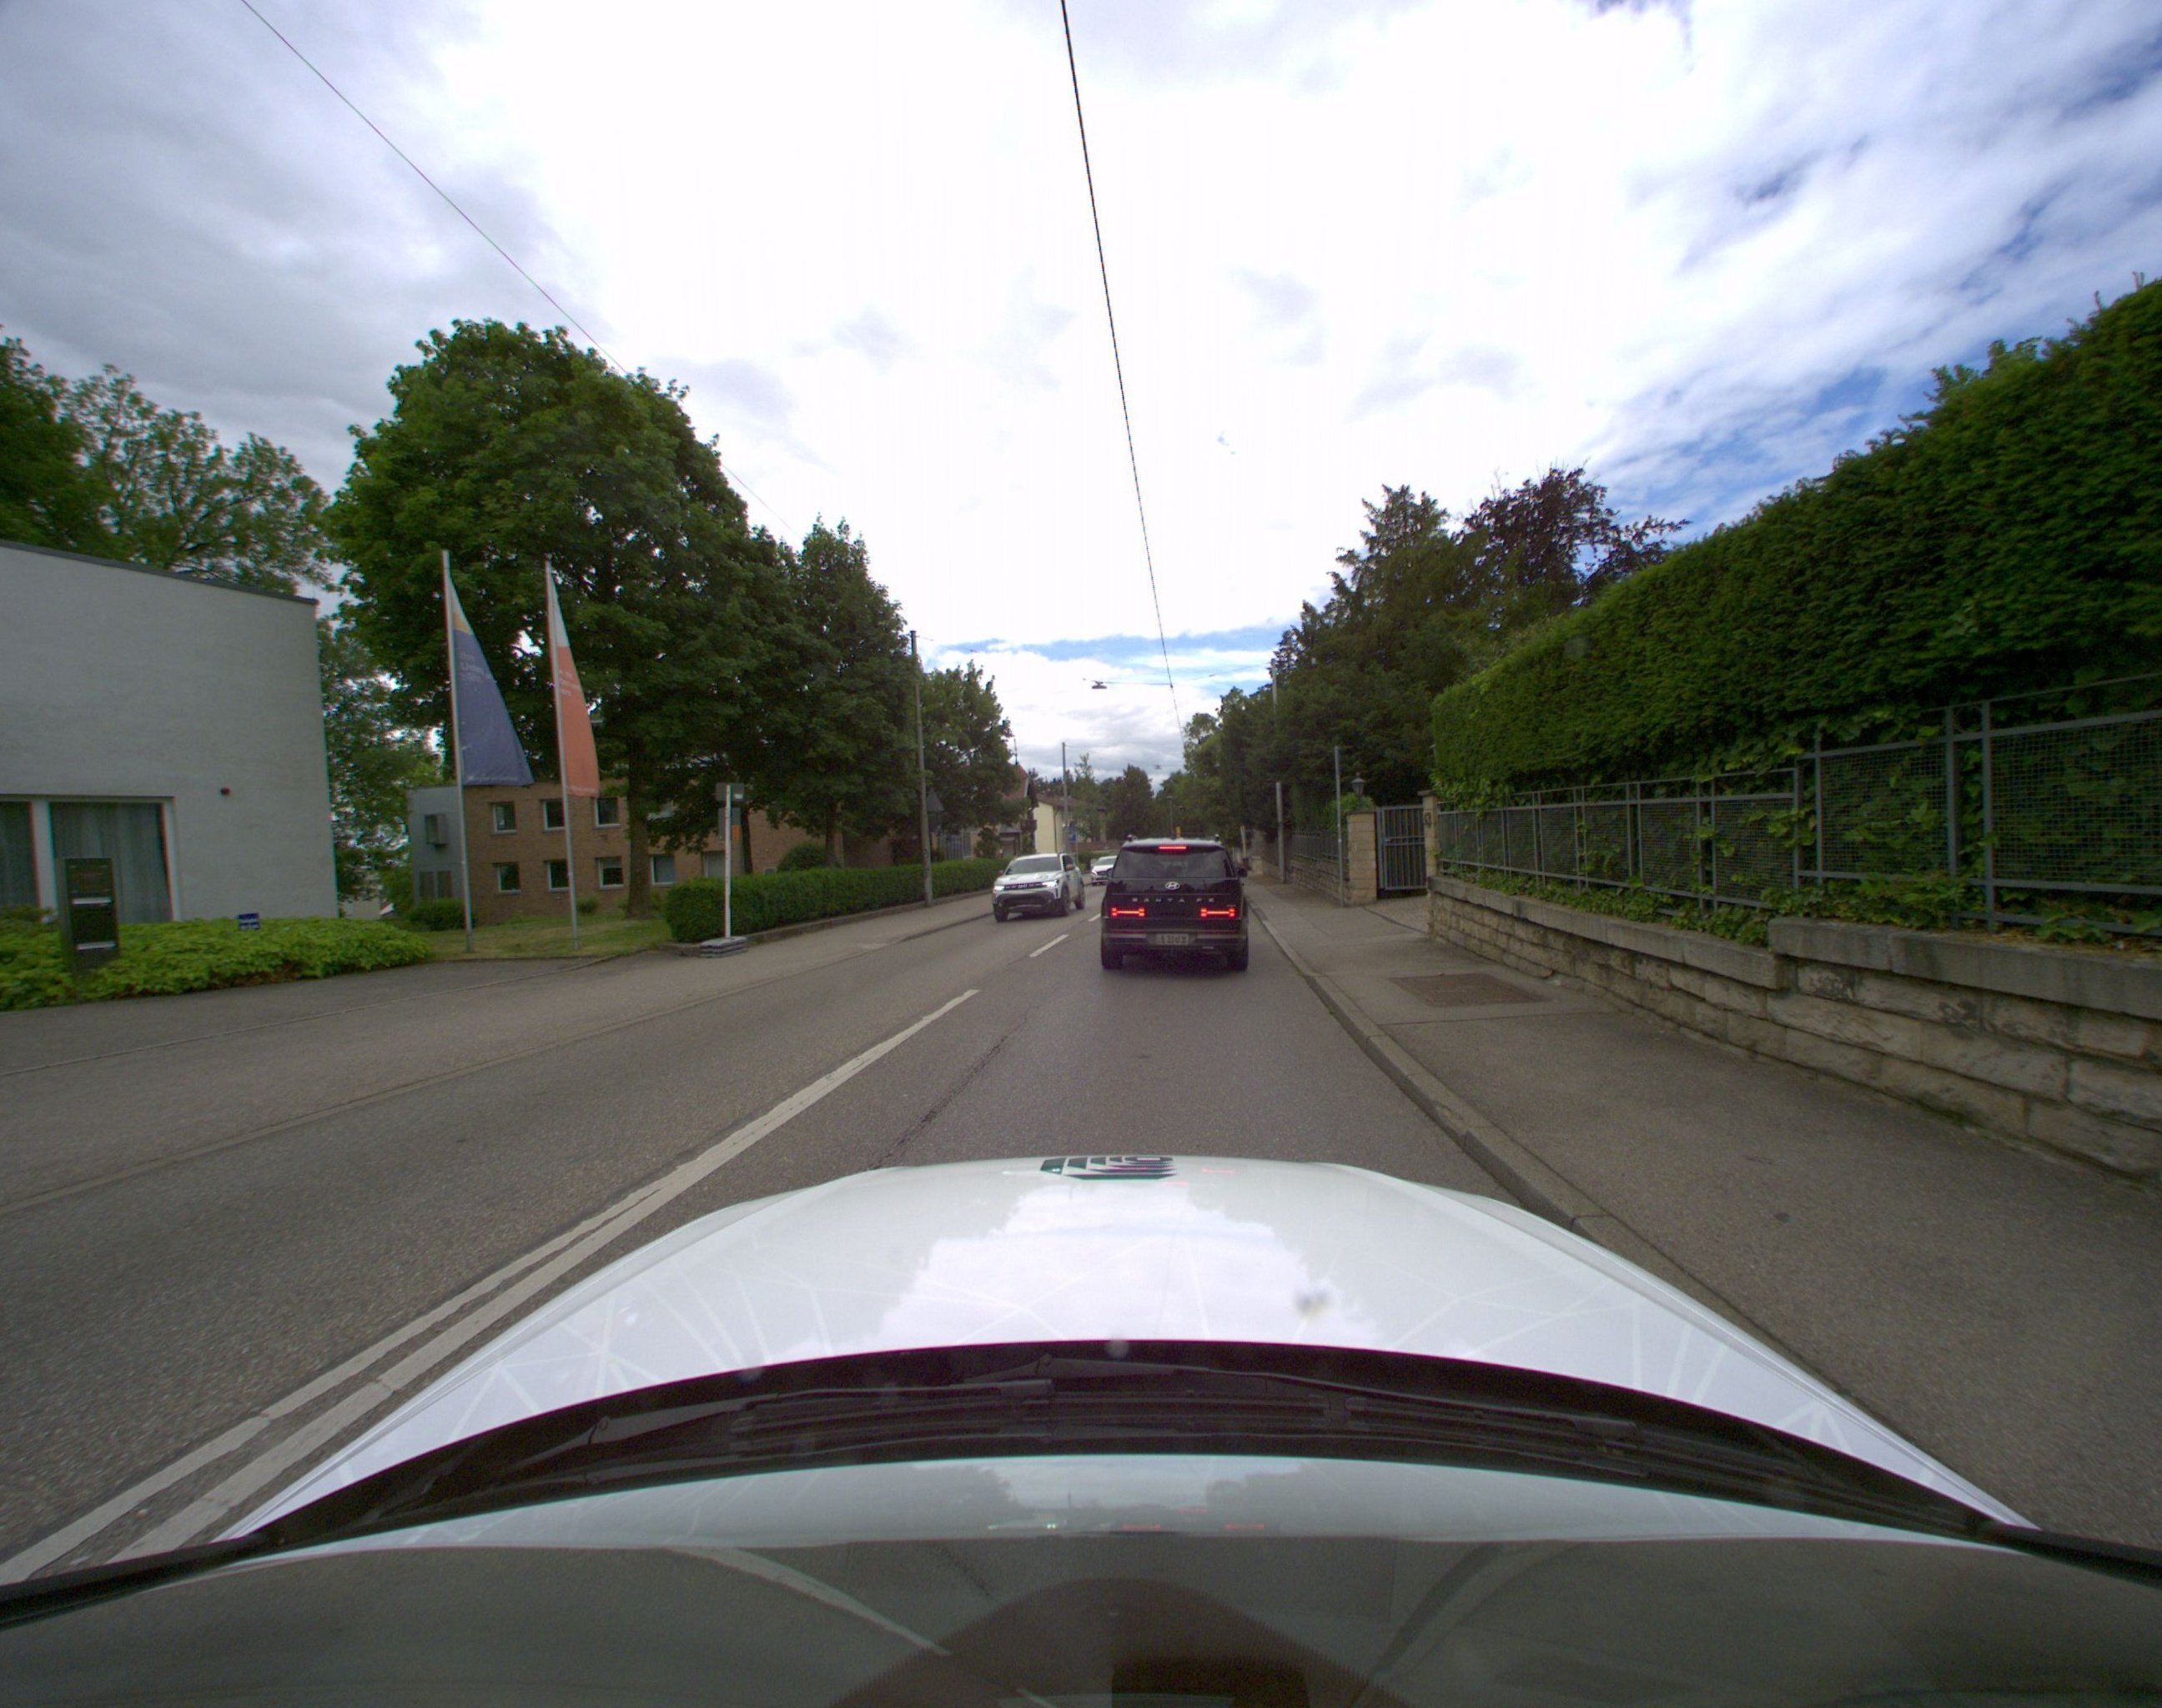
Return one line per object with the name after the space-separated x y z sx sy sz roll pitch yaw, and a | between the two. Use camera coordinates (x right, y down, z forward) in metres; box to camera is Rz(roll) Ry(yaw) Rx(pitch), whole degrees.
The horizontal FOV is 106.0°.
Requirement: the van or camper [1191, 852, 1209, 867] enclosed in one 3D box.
14.603 0.680 99.757 1.982 1.651 4.011 -4 0 9 | van or camper

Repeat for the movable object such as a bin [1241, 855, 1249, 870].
11.073 0.575 54.916 0.441 0.909 0.396 -5 0 18 | movable object such as a bin

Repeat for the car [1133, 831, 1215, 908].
2.725 0.402 23.021 1.944 1.956 4.236 -1 0 11 | car

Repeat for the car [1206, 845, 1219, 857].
18.867 -0.417 116.606 1.634 1.561 3.661 -3 -3 12 | car

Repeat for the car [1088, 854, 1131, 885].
1.540 0.788 42.672 1.756 1.421 4.075 -5 -1 8 | car

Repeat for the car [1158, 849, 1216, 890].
4.345 0.572 32.853 1.980 1.404 4.013 -4 0 11 | car

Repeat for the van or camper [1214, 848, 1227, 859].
22.554 -0.074 131.964 1.982 1.651 4.011 -4 0 9 | van or camper

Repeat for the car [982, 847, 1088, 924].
-1.067 0.731 21.193 1.759 1.637 4.312 -6 -1 8 | car

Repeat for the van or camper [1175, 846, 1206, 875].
7.850 0.432 58.155 1.982 1.887 4.010 -4 0 9 | van or camper

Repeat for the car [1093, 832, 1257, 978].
1.430 0.581 11.803 1.946 1.713 4.234 0 1 9 | car
